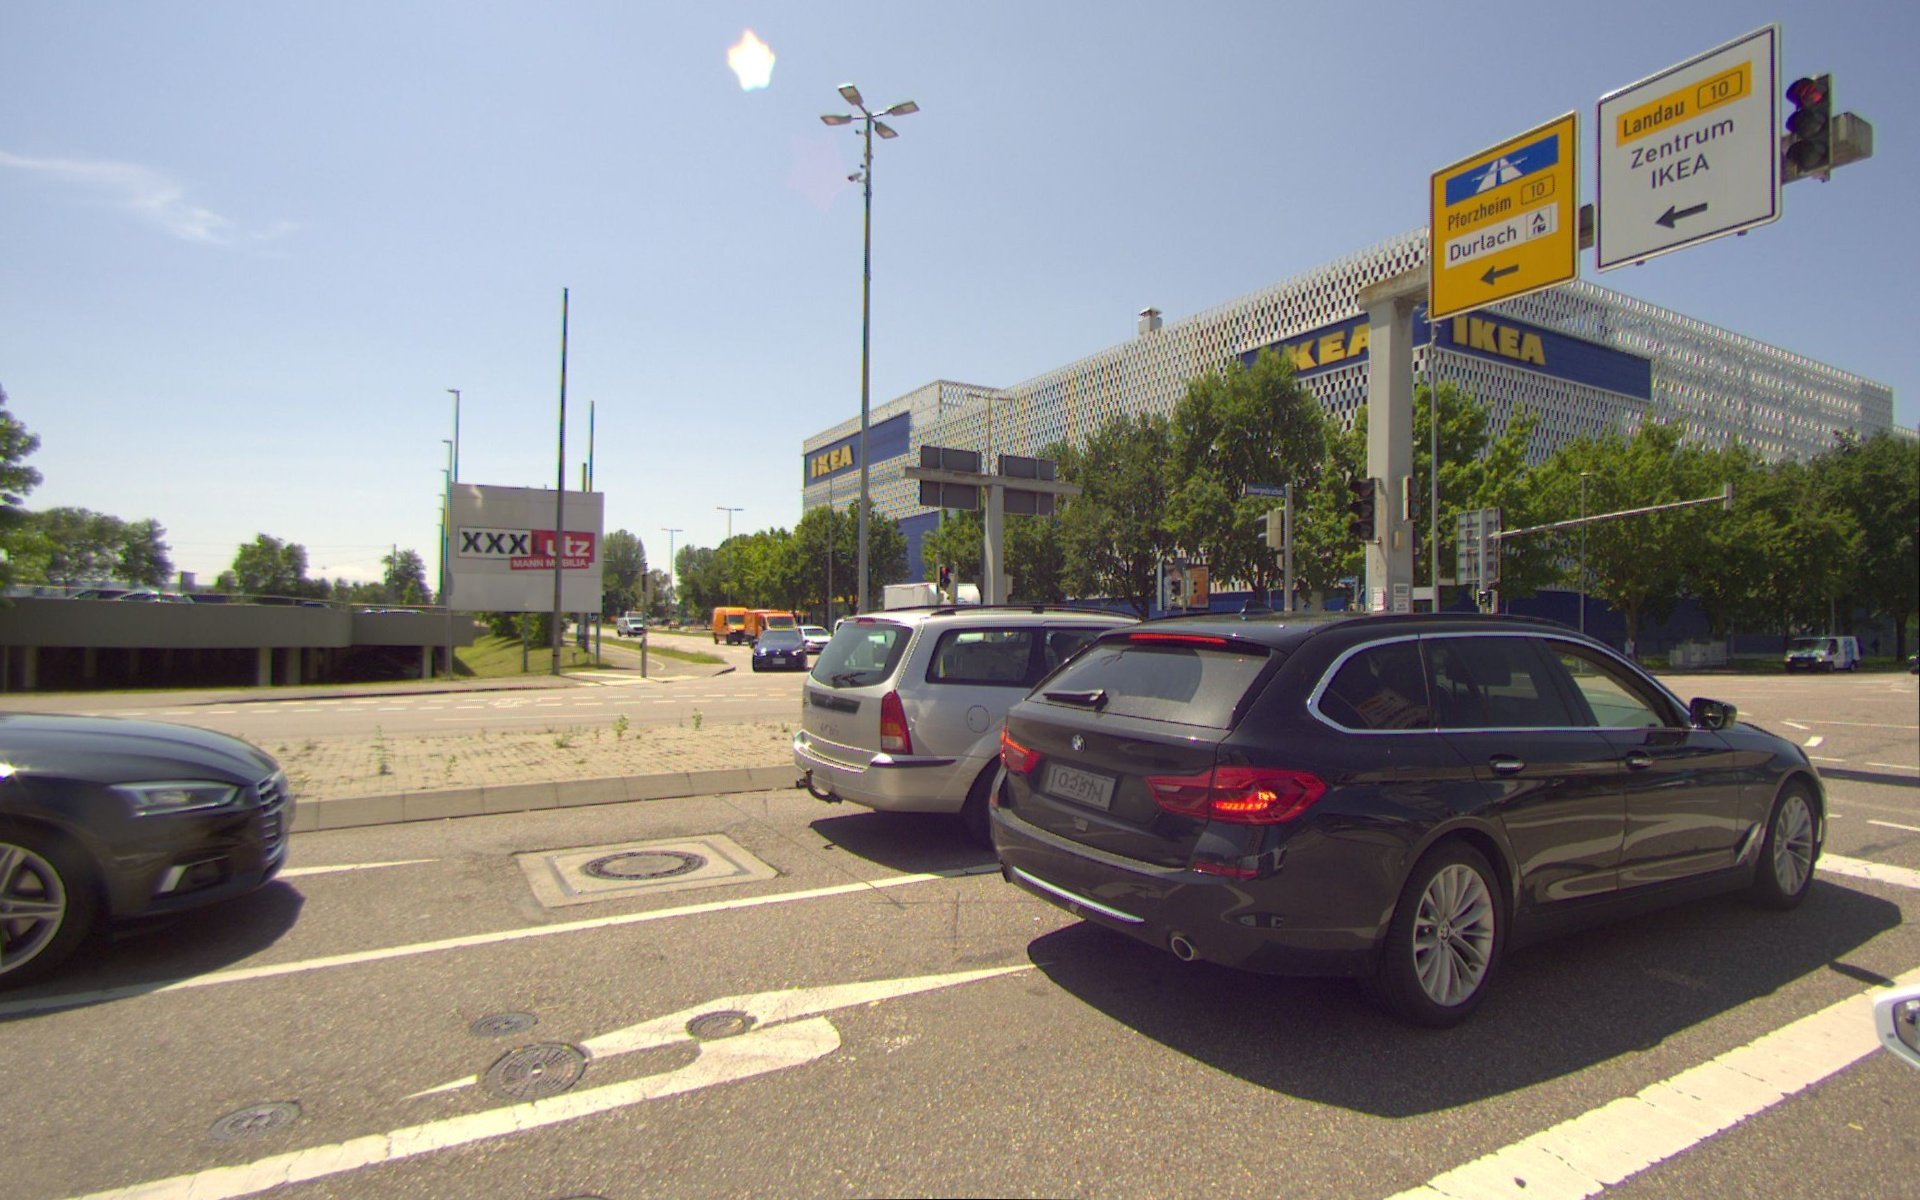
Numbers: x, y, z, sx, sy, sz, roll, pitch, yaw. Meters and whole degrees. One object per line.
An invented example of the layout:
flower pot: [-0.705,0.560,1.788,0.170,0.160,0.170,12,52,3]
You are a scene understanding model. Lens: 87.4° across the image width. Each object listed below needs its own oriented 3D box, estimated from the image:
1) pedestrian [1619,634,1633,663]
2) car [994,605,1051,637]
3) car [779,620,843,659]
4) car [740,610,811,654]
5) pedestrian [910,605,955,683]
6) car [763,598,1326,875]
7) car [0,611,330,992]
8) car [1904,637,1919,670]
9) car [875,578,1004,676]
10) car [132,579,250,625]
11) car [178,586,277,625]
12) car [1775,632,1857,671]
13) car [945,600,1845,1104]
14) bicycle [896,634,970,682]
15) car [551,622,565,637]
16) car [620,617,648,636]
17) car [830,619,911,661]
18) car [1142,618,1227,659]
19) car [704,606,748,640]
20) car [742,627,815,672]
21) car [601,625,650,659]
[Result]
pedestrian: [34.867,2.518,52.594,0.477,1.502,0.460,2,-2,-26]
car: [4.059,1.377,66.060,1.975,2.040,3.971,1,-1,-28]
car: [-8.161,2.149,54.652,1.975,2.040,4.680,1,-2,-28]
car: [-11.454,1.976,61.860,2.542,2.568,6.586,1,-2,-27]
pedestrian: [-0.733,1.165,26.821,0.856,2.040,0.898,1,-2,-36]
car: [0.755,0.794,7.409,3.962,1.514,1.785,1,-1,-37]
car: [-5.122,0.743,3.838,4.477,1.409,1.741,1,-1,-29]
car: [49.016,2.676,49.985,4.445,1.619,1.866,2,-3,-31]
car: [-0.966,1.044,39.783,2.156,3.532,6.873,-1,-1,-29]
car: [-34.505,0.120,45.216,3.954,1.957,1.984,1,-2,-31]
car: [-37.703,0.318,51.862,3.957,1.933,1.982,1,-2,-33]
car: [47.118,2.819,55.295,4.708,2.034,1.984,2,-2,-30]
car: [2.338,0.781,4.939,4.571,1.485,1.790,1,-1,-32]
bicycle: [-0.745,1.513,26.832,0.987,1.229,2.079,1,-2,-36]
car: [-53.875,3.951,134.590,1.595,2.040,3.862,1,-1,-20]
car: [-34.118,2.768,105.106,1.975,1.930,4.777,1,-1,-28]
car: [-4.242,1.855,46.721,1.974,1.835,5.437,1,-2,-26]
car: [9.715,1.635,43.789,1.689,1.673,4.190,1,-1,-20]
car: [-16.723,1.661,71.560,1.973,2.318,5.847,1,-2,-25]
car: [-6.620,1.754,36.329,1.904,1.528,3.982,1,-2,-20]
car: [-20.643,2.564,61.917,1.816,2.040,3.962,1,-2,-34]
